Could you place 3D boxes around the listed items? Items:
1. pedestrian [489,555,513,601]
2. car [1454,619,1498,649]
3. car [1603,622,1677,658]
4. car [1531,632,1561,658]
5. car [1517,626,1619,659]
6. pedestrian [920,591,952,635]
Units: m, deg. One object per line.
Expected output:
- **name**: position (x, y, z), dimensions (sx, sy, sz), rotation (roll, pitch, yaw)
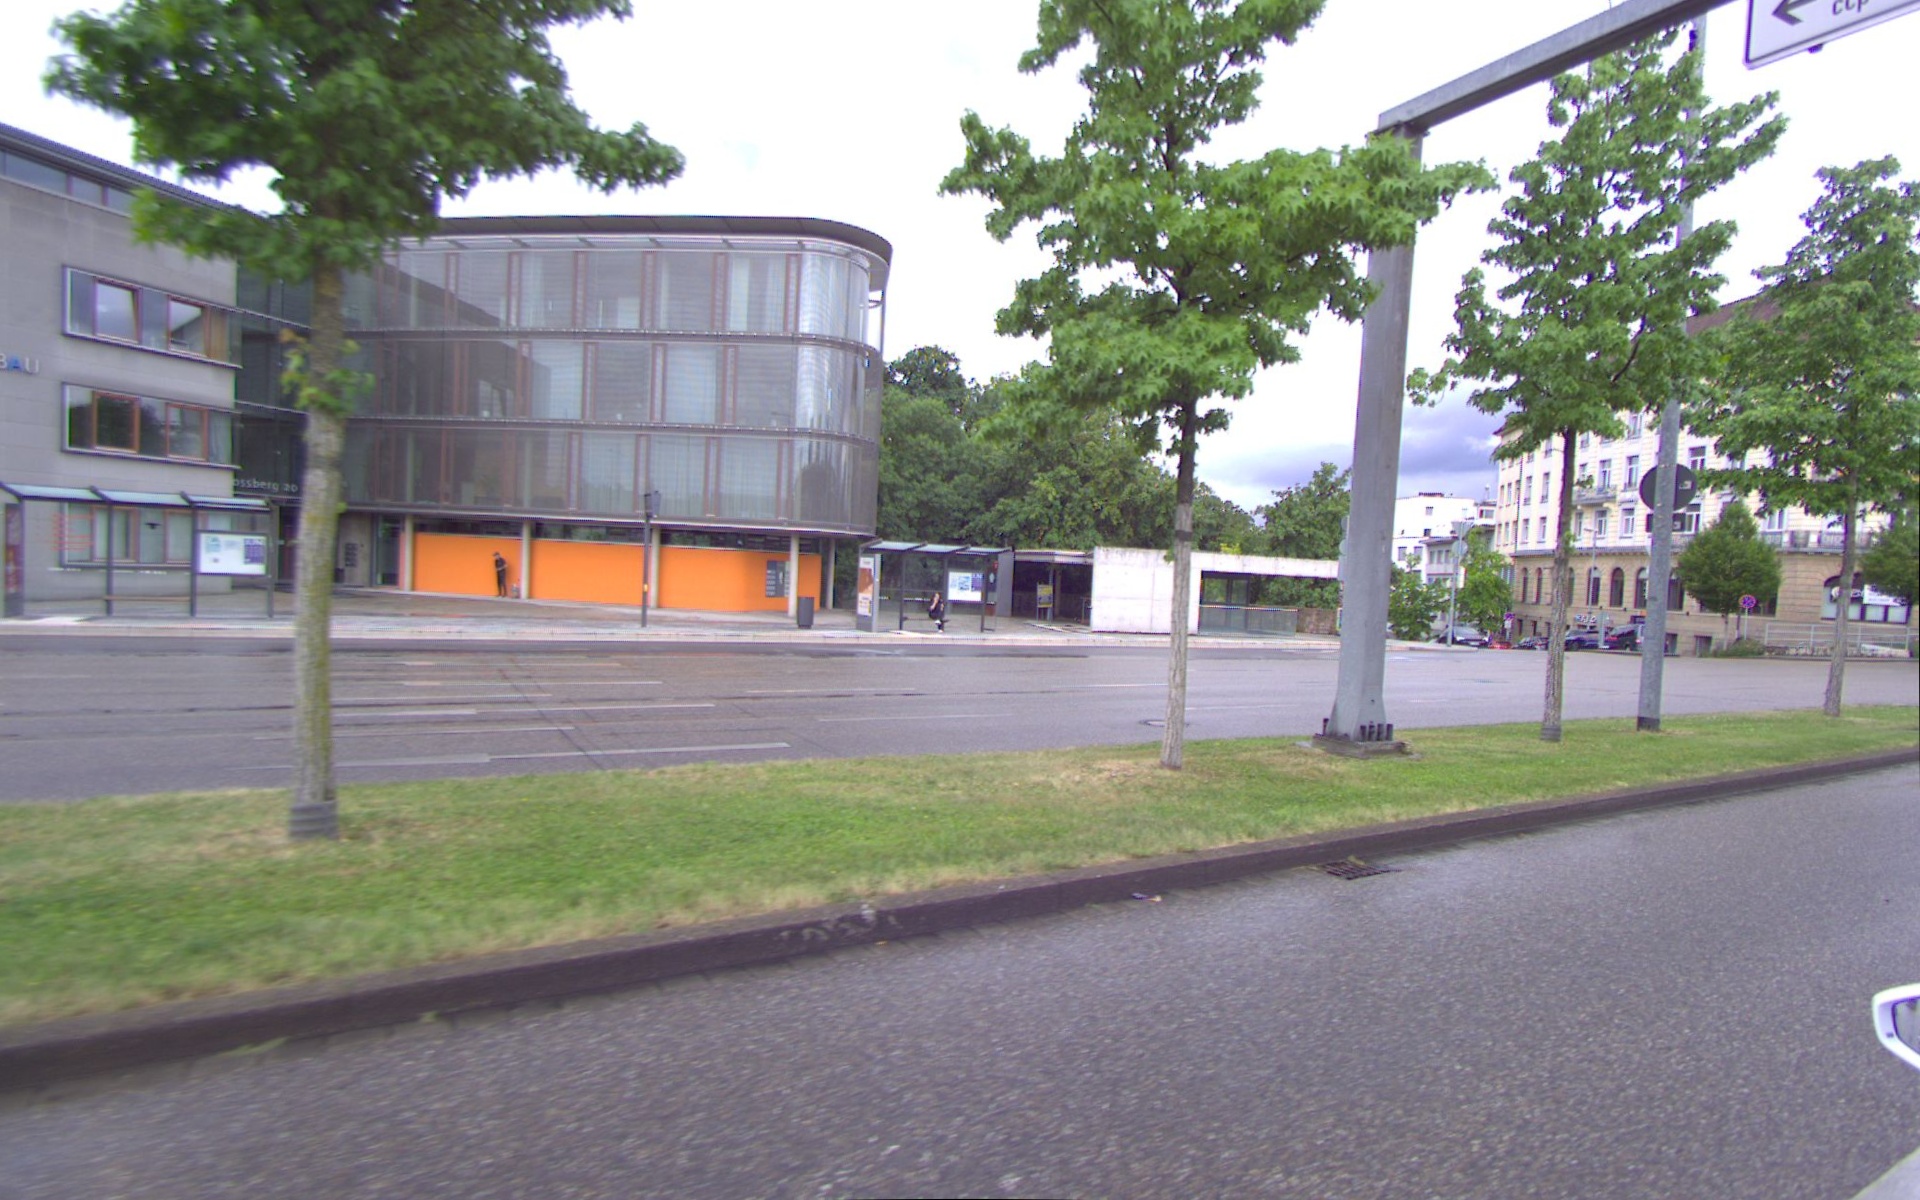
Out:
- **pedestrian**: position (-17.516, -0.843, 38.335), dimensions (0.630, 1.706, 0.475), rotation (2, 0, 0)
- **car**: position (29.669, 1.935, 57.849), dimensions (1.962, 1.606, 3.474), rotation (2, 0, 24)
- **car**: position (37.175, 2.151, 55.033), dimensions (2.077, 1.799, 4.393), rotation (2, 0, 17)
- **car**: position (38.474, 2.943, 65.985), dimensions (1.633, 1.626, 3.247), rotation (-1, -1, 29)
- **car**: position (32.482, 2.234, 53.755), dimensions (1.810, 1.591, 4.347), rotation (2, -1, -44)
- **pedestrian**: position (-0.775, 0.408, 31.776), dimensions (0.834, 1.285, 0.976), rotation (2, 4, -10)
